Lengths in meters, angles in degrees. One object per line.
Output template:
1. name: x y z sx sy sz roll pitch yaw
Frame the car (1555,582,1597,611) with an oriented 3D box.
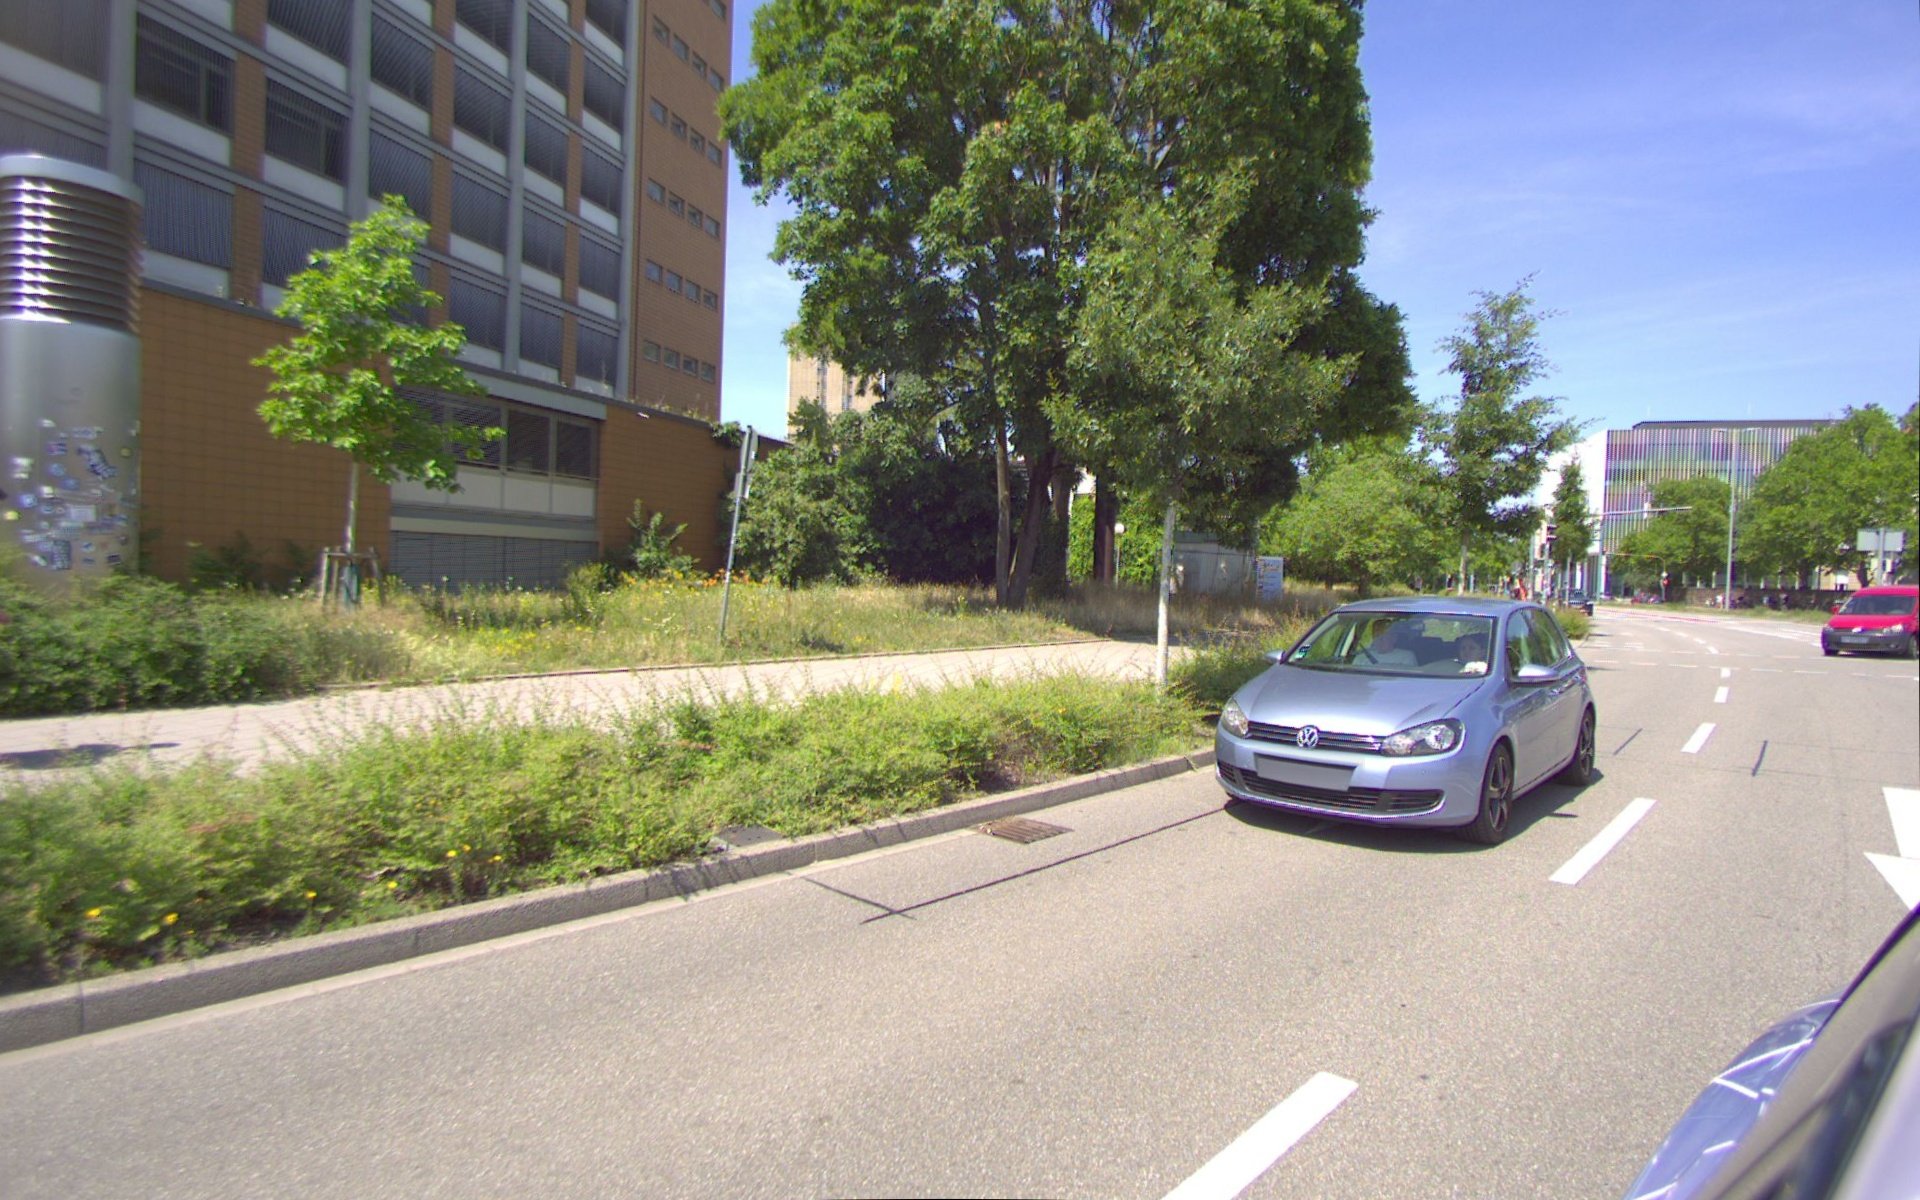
1. car: 37.749 -0.185 62.098 1.691 1.606 4.515 2 0 25

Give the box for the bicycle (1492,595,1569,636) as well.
1. bicycle: 16.596 0.428 29.498 0.547 1.058 2.002 3 2 -21

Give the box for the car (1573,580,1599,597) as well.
1. car: 71.558 -1.318 115.731 1.757 1.689 3.972 3 0 20

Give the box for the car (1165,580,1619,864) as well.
1. car: 3.325 0.617 7.357 1.827 1.431 3.933 3 2 42

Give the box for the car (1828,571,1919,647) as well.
1. car: 23.683 0.275 25.400 4.196 1.788 1.834 3 0 -35

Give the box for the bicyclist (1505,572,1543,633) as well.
1. bicyclist: 16.533 0.070 29.688 0.540 1.737 0.705 3 1 -21

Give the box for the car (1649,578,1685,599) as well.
1. car: 73.850 -1.191 105.726 1.976 2.039 4.185 2 0 20

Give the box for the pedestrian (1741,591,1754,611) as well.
1. pedestrian: 80.812 0.122 103.883 0.779 2.039 0.834 2 -1 20

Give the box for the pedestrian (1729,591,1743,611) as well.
1. pedestrian: 79.819 0.070 104.074 0.779 2.039 0.957 2 -1 20

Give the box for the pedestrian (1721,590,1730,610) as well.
1. pedestrian: 78.838 0.019 104.212 0.543 2.039 0.532 2 -1 21

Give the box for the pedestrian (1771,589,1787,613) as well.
1. pedestrian: 80.580 0.061 99.590 0.838 2.320 1.069 2 -1 19

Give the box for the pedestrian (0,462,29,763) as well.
1. pedestrian: -5.990 0.058 5.878 0.796 1.727 0.733 1 0 -41

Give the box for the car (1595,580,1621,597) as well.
1. car: 73.470 -1.315 114.821 1.761 1.705 3.969 2 0 22
